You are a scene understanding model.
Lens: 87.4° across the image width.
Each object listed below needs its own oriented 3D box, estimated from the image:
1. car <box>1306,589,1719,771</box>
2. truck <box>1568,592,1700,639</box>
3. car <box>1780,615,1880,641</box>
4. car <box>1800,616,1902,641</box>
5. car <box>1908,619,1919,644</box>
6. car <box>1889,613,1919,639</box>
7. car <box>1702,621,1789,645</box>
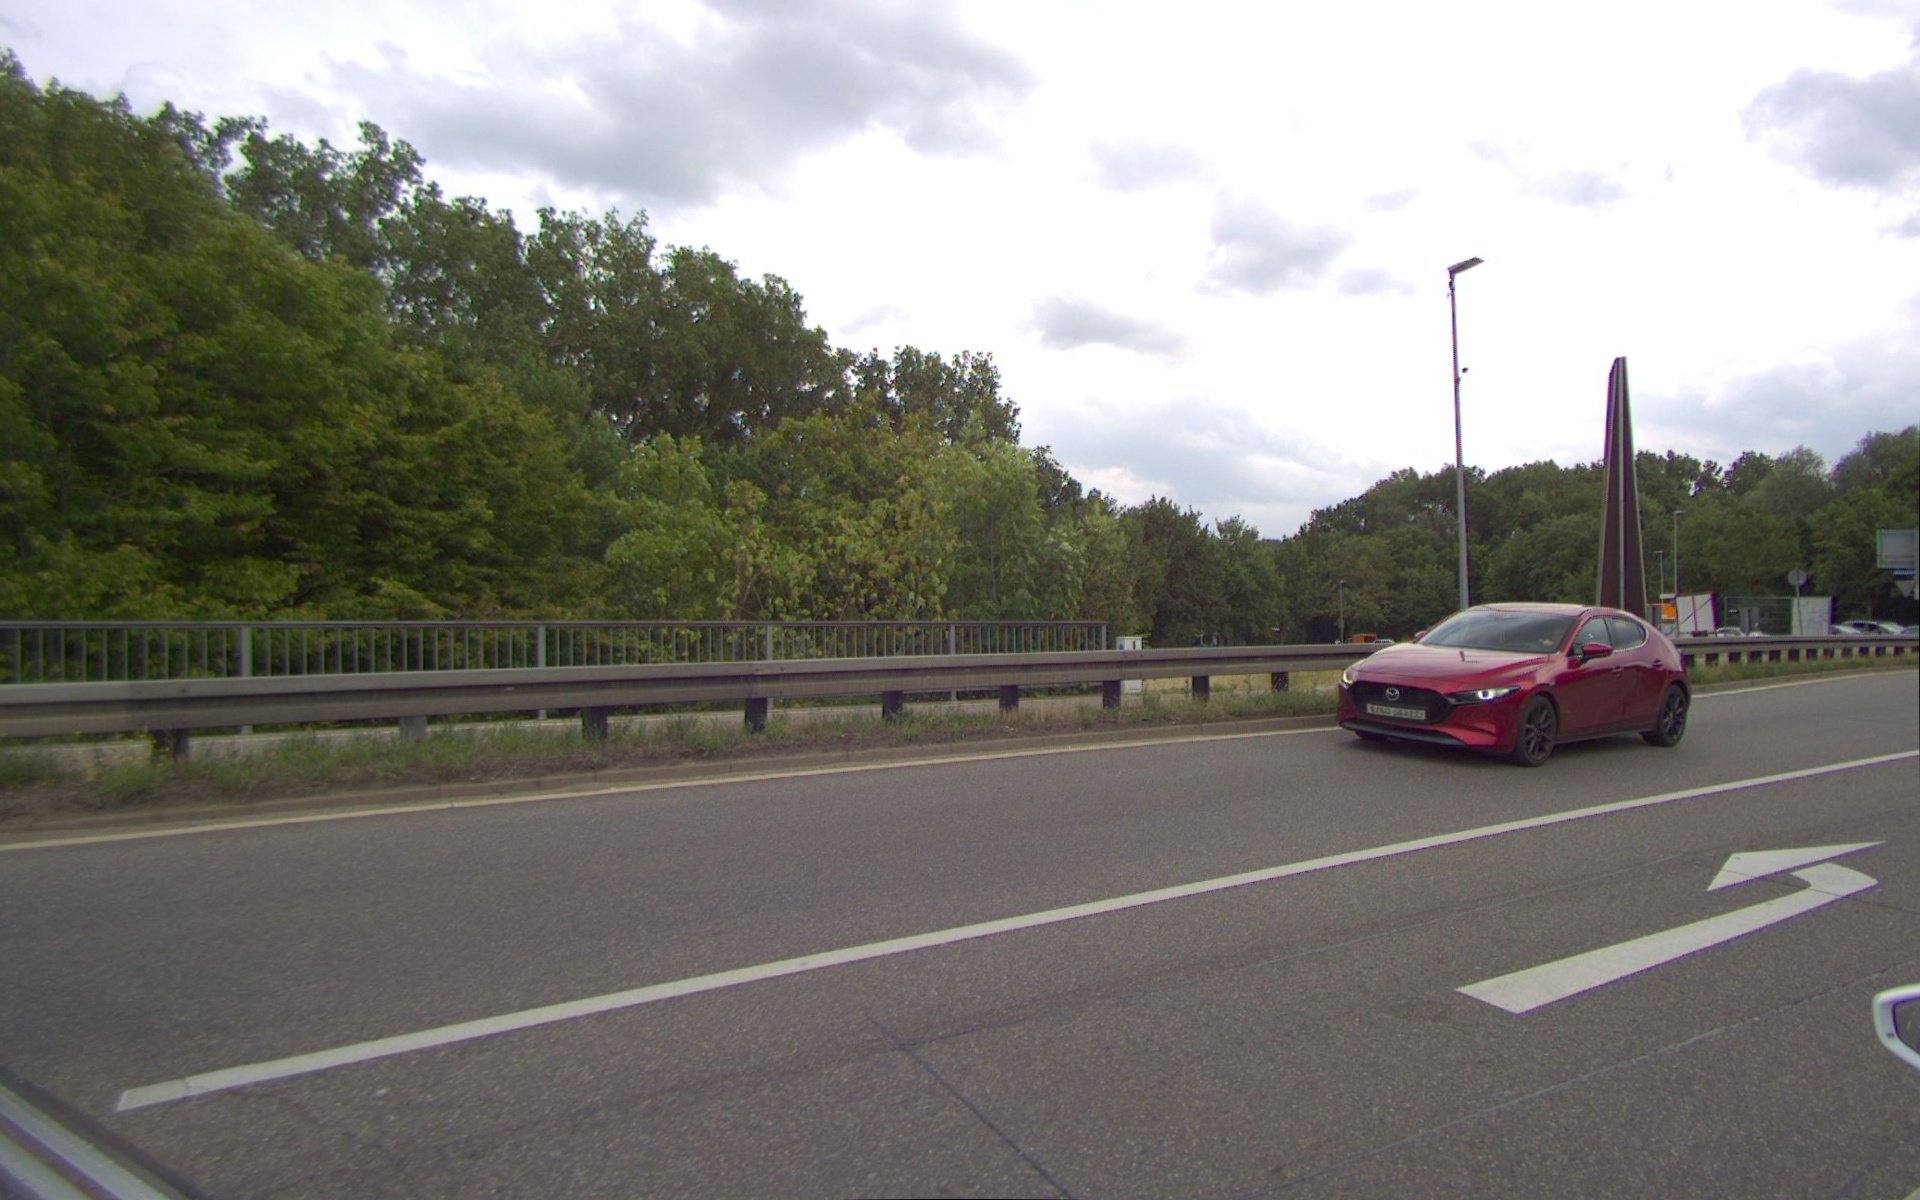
[{"bbox_3d":[5.772,0.684,10.312,4.586,1.491,1.785,1,0,-33],"label":"car"},{"bbox_3d":[49.431,1.068,74.114,2.915,3.177,9.270,1,0,-4],"label":"truck"},{"bbox_3d":[50.470,1.587,58.393,1.961,1.327,4.335,1,0,-3],"label":"car"},{"bbox_3d":[53.769,1.701,60.763,1.961,1.327,4.572,1,0,-3],"label":"car"},{"bbox_3d":[53.630,1.770,53.702,1.961,1.327,4.069,1,0,-3],"label":"car"},{"bbox_3d":[49.901,1.363,50.954,1.961,1.327,3.804,1,0,-3],"label":"car"},{"bbox_3d":[50.083,2.063,64.167,1.961,1.327,4.335,1,0,-3],"label":"car"}]
